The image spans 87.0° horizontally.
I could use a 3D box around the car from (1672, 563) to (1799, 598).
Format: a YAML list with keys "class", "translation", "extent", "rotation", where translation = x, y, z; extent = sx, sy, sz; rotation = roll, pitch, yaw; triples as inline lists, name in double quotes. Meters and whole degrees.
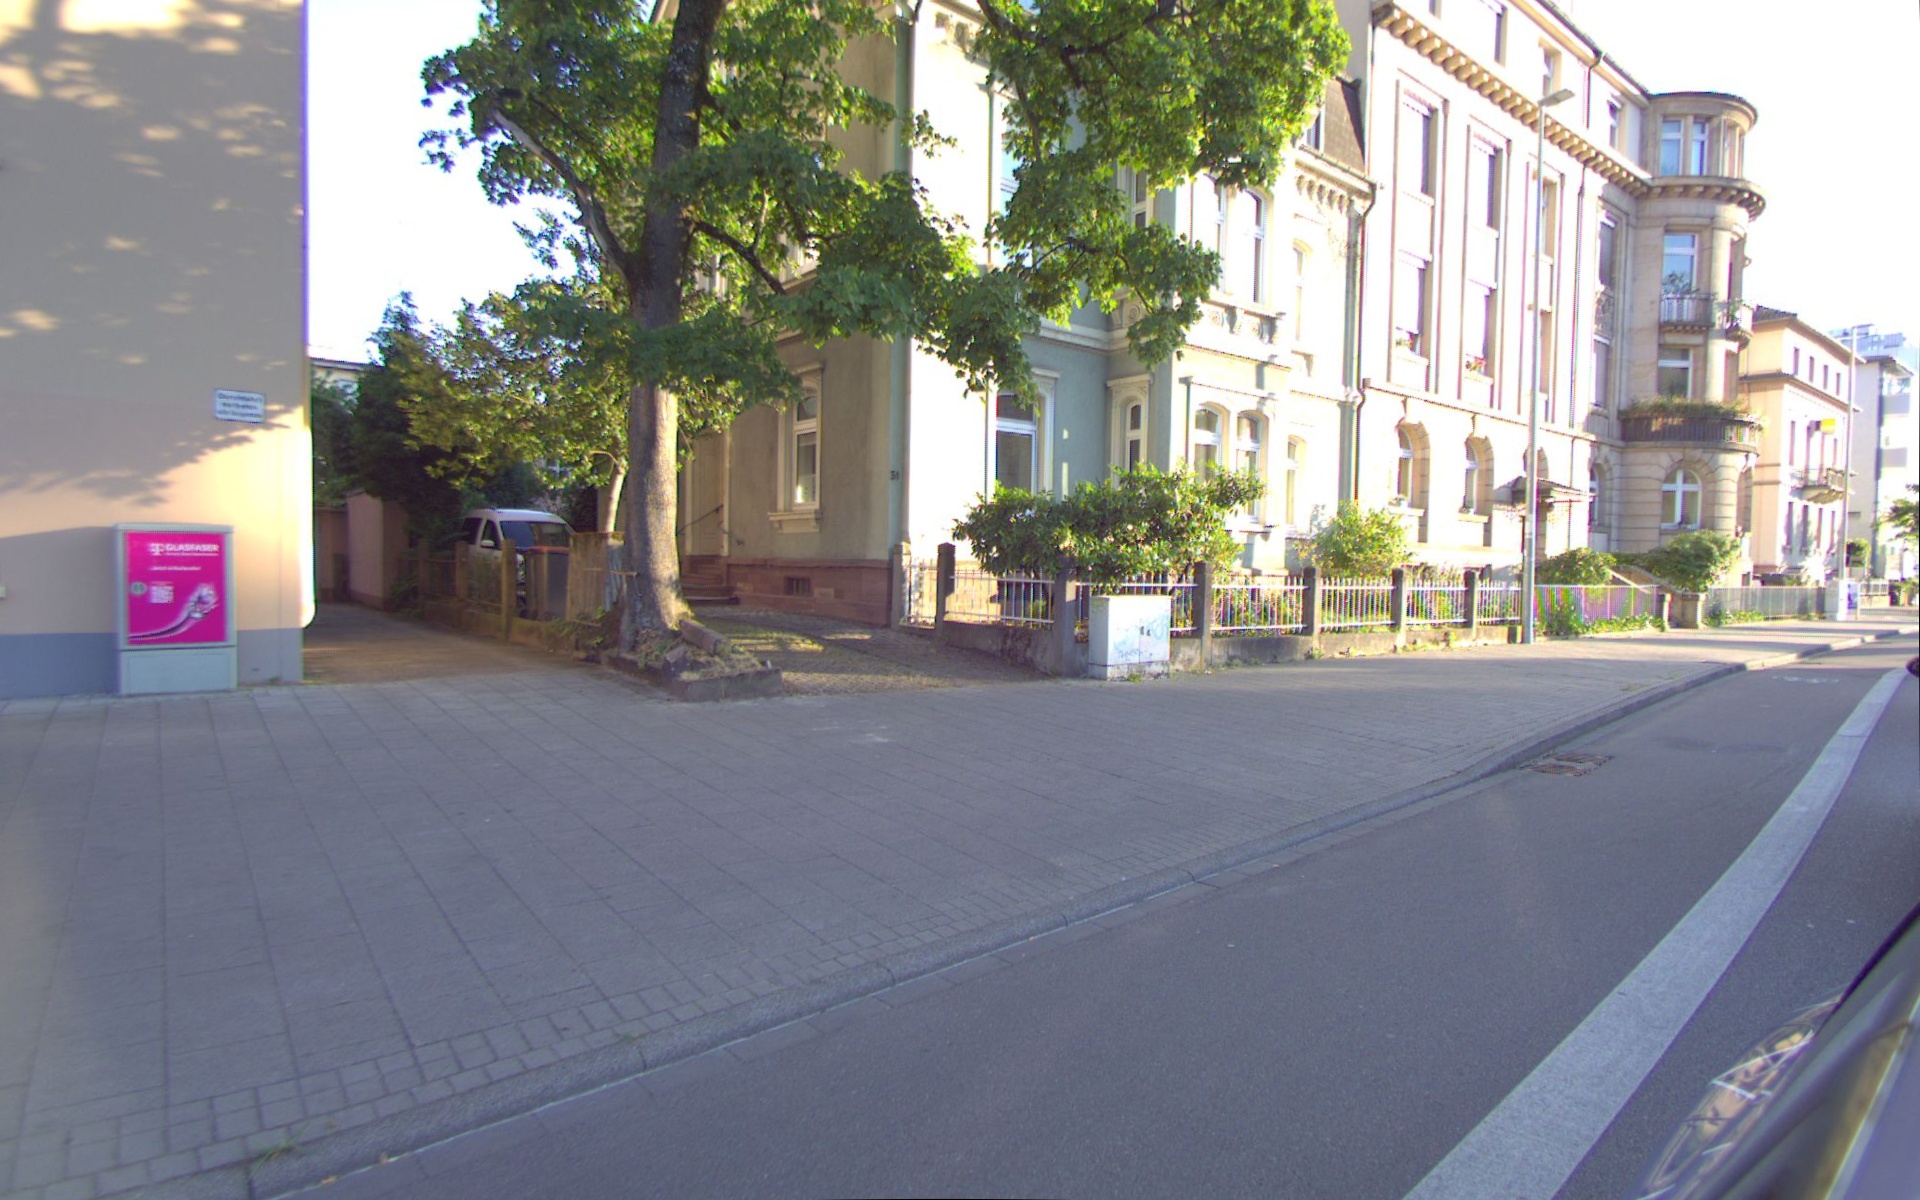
- class: "car"
  translation: [34.145, -0.885, 44.649]
  extent: [1.903, 1.499, 4.097]
  rotation: [-1, 2, -38]

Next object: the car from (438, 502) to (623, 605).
- class: "car"
  translation: [-8.478, -0.962, 19.754]
  extent: [1.796, 1.778, 4.513]
  rotation: [0, 4, -44]

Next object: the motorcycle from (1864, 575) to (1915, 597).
- class: "motorcycle"
  translation: [48.380, -0.735, 52.703]
  extent: [0.564, 1.110, 1.851]
  rotation: [0, 2, -33]
